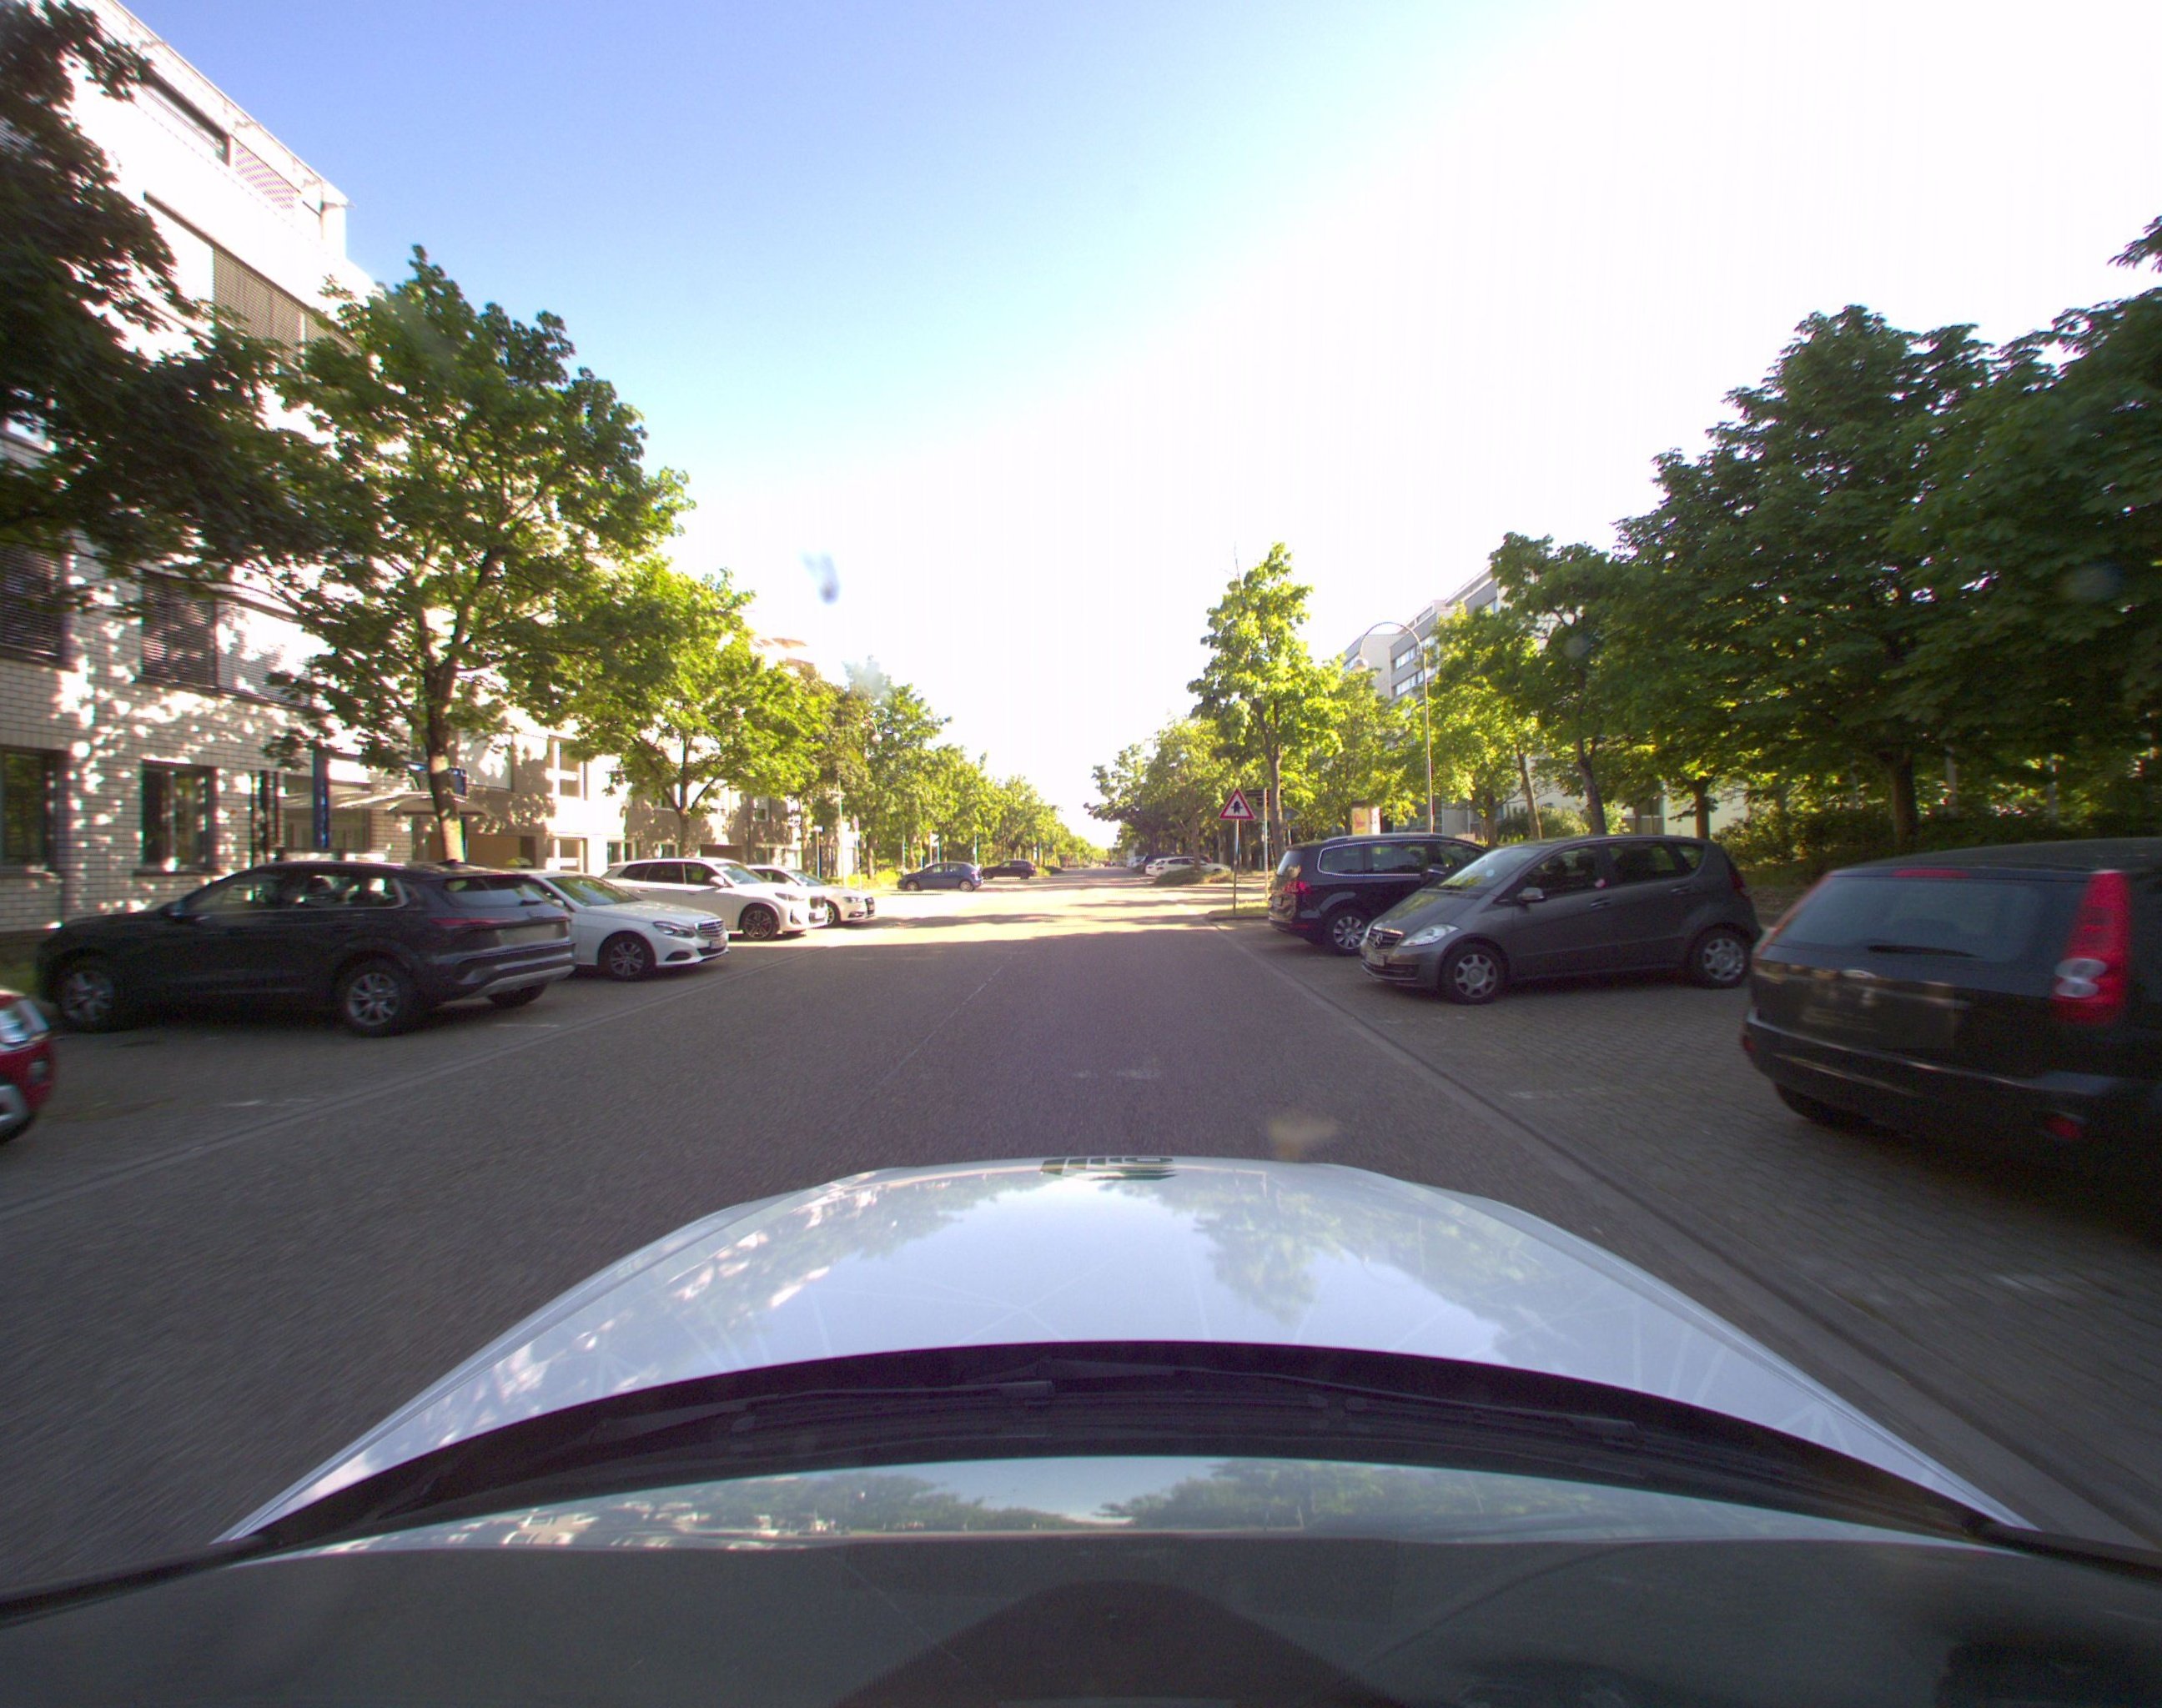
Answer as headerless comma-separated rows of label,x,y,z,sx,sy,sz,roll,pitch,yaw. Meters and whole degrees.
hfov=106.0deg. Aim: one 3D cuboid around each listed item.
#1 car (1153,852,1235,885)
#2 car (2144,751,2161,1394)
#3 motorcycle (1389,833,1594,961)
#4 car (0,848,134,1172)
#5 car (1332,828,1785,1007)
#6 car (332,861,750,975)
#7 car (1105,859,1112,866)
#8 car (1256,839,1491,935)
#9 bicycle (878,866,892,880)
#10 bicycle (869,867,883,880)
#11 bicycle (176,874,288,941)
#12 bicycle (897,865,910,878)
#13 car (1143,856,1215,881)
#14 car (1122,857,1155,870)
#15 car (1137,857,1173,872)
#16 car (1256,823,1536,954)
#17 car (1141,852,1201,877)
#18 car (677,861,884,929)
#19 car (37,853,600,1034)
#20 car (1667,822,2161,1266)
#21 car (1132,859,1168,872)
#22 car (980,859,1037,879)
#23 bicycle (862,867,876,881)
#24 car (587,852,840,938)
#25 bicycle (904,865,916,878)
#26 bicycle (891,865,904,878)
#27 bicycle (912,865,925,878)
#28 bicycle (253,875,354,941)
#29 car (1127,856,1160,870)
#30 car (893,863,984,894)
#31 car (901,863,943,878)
car,6.500,0.818,47.076,4.414,1.593,1.836,-3,-1,-1
car,4.774,0.497,1.018,4.404,1.553,1.860,-1,0,1
motorcycle,5.496,0.569,11.016,2.299,1.580,0.767,-3,-1,2
car,-7.366,0.800,4.027,3.556,1.668,1.656,0,0,4
car,4.964,0.615,8.843,3.862,1.565,1.807,-2,-1,-3
car,-7.317,0.836,11.466,4.497,1.451,1.939,0,0,-3
car,8.432,2.655,247.196,1.986,2.014,4.002,0,-1,2
car,5.458,0.585,15.480,3.824,1.446,1.591,-4,1,-2
bicycle,-15.493,1.482,64.423,0.435,1.047,2.194,0,-1,2
bicycle,-16.300,1.553,64.713,0.435,1.047,2.194,0,-1,2
bicycle,-15.951,0.977,15.350,0.336,1.175,1.628,0,-1,2
bicycle,-14.367,1.393,65.983,0.435,1.047,2.194,0,-1,2
car,6.350,0.941,53.109,4.429,1.545,1.816,0,-1,-1
car,7.874,1.333,111.622,4.329,1.489,1.737,-3,-1,0
car,8.449,1.167,92.891,3.972,1.451,1.718,-3,-1,2
car,4.726,0.513,12.641,3.656,1.751,1.726,-2,-1,4
car,7.145,0.828,65.167,4.569,1.779,2.001,-3,-1,2
car,-7.082,0.951,19.481,4.243,1.480,1.800,-1,0,0
car,-7.479,0.803,8.291,4.095,1.620,1.804,0,0,3
car,5.166,0.591,3.773,3.703,1.481,1.722,-2,-1,-4
car,8.290,1.377,97.731,4.252,1.428,1.831,-1,-1,6
car,-5.599,1.179,63.082,4.176,1.520,1.773,0,-1,2
bicycle,-16.834,1.568,64.726,0.435,1.047,2.194,0,-1,2
car,-7.328,0.806,16.567,4.209,1.602,1.954,1,-1,2
bicycle,-13.850,1.401,65.961,0.435,1.047,2.194,0,-1,2
bicycle,-14.859,1.388,66.011,0.435,1.047,2.194,0,-1,2
bicycle,-12.845,1.365,64.428,0.435,1.047,2.194,0,-1,2
bicycle,-15.008,1.018,15.781,0.336,1.175,1.628,0,-1,2
car,8.792,1.216,114.305,4.421,1.647,1.816,-4,0,0
car,-6.691,1.132,38.503,3.976,1.411,1.816,0,-1,-2
car,-16.944,1.766,87.000,4.060,1.451,1.626,-3,-1,3
